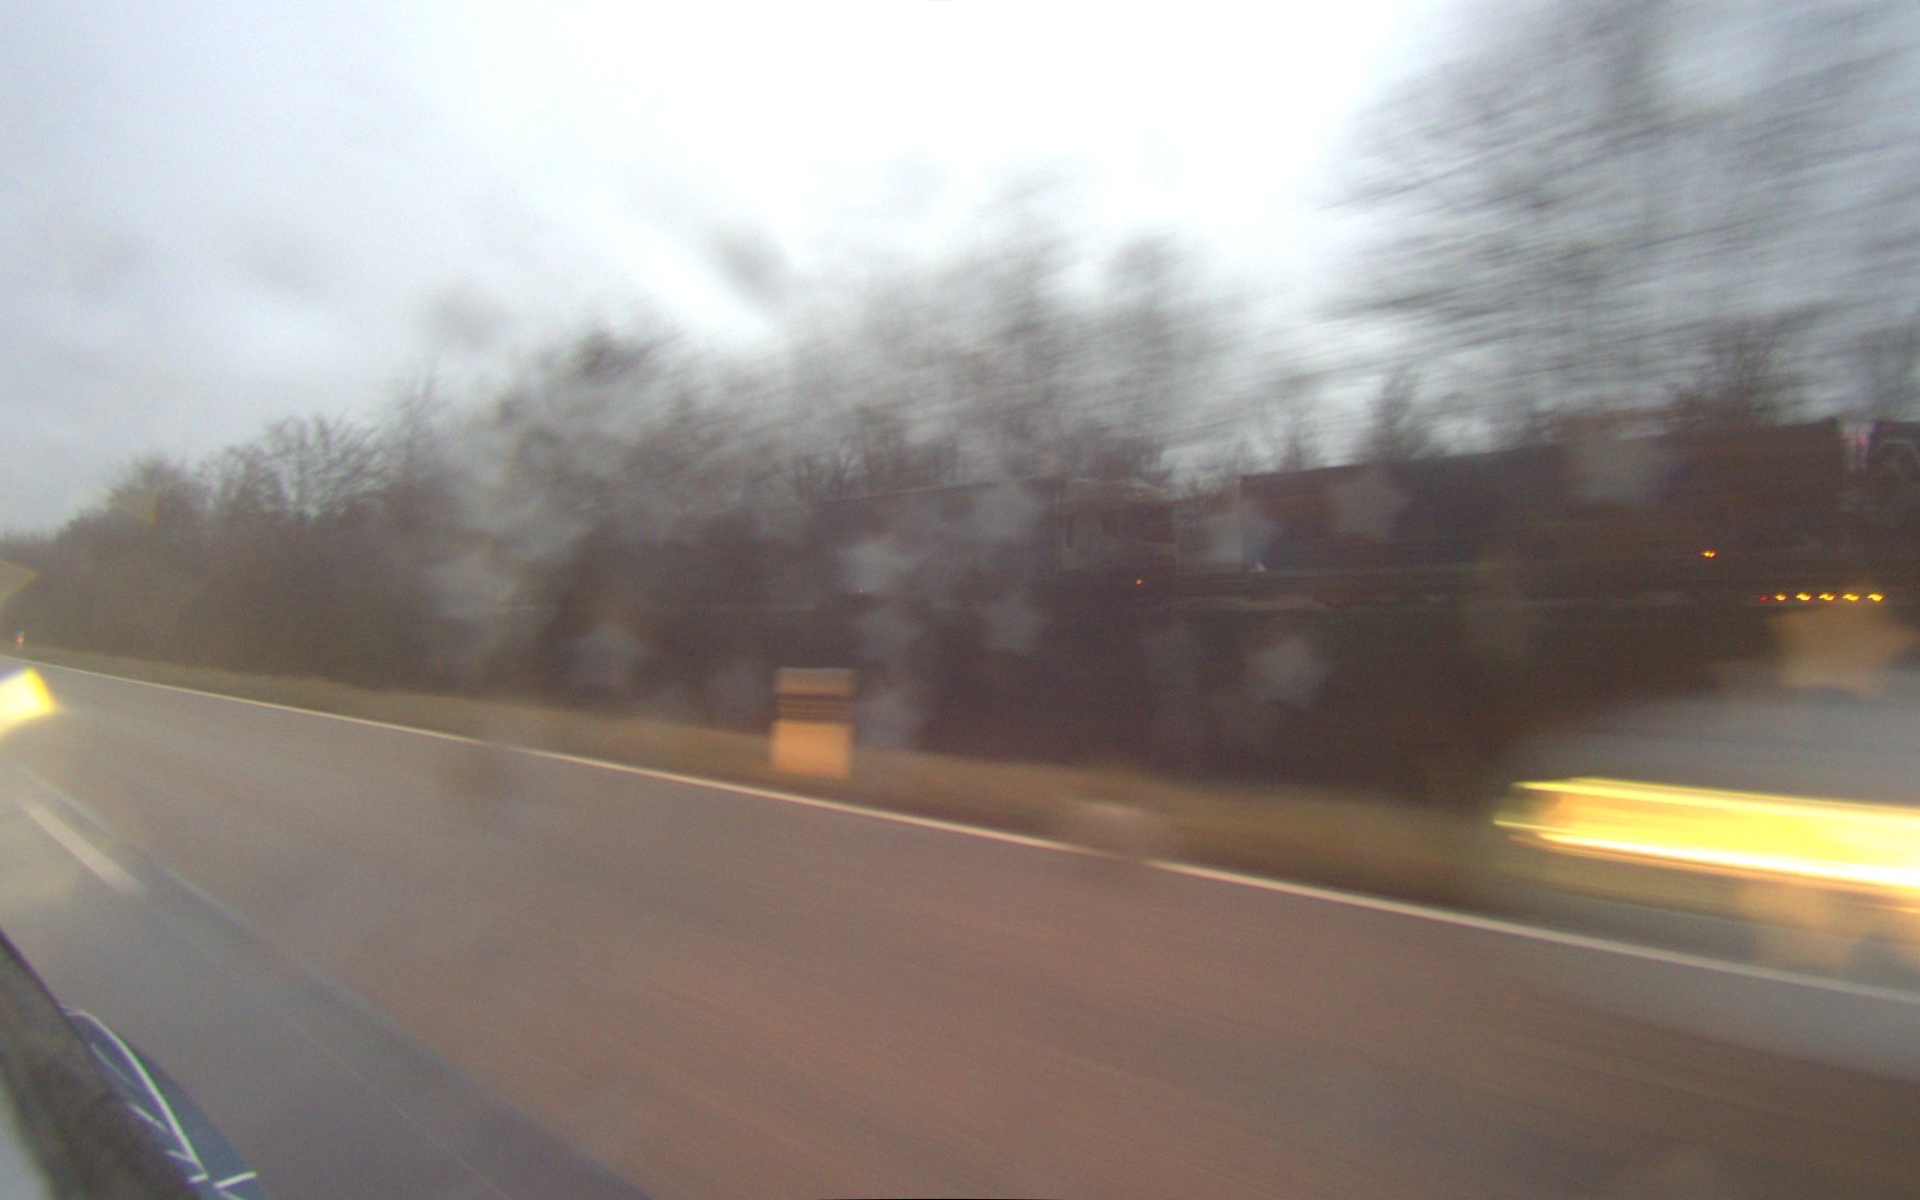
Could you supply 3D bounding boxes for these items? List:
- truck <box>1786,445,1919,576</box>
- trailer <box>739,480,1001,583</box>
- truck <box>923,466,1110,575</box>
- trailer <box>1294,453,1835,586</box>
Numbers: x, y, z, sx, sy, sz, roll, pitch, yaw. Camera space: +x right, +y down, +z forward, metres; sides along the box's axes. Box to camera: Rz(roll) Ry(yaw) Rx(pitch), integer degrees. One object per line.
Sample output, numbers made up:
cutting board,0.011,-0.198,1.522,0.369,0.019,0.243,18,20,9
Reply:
truck,19.832,-1.825,21.060,3.998,2.454,2.503,-1,-2,41
trailer,-3.610,-2.245,36.452,11.079,2.913,2.410,-1,-1,41
truck,1.690,-2.359,31.839,5.580,2.909,2.424,-1,-1,41
trailer,14.550,-1.730,25.664,11.497,2.443,2.482,-1,-2,41
